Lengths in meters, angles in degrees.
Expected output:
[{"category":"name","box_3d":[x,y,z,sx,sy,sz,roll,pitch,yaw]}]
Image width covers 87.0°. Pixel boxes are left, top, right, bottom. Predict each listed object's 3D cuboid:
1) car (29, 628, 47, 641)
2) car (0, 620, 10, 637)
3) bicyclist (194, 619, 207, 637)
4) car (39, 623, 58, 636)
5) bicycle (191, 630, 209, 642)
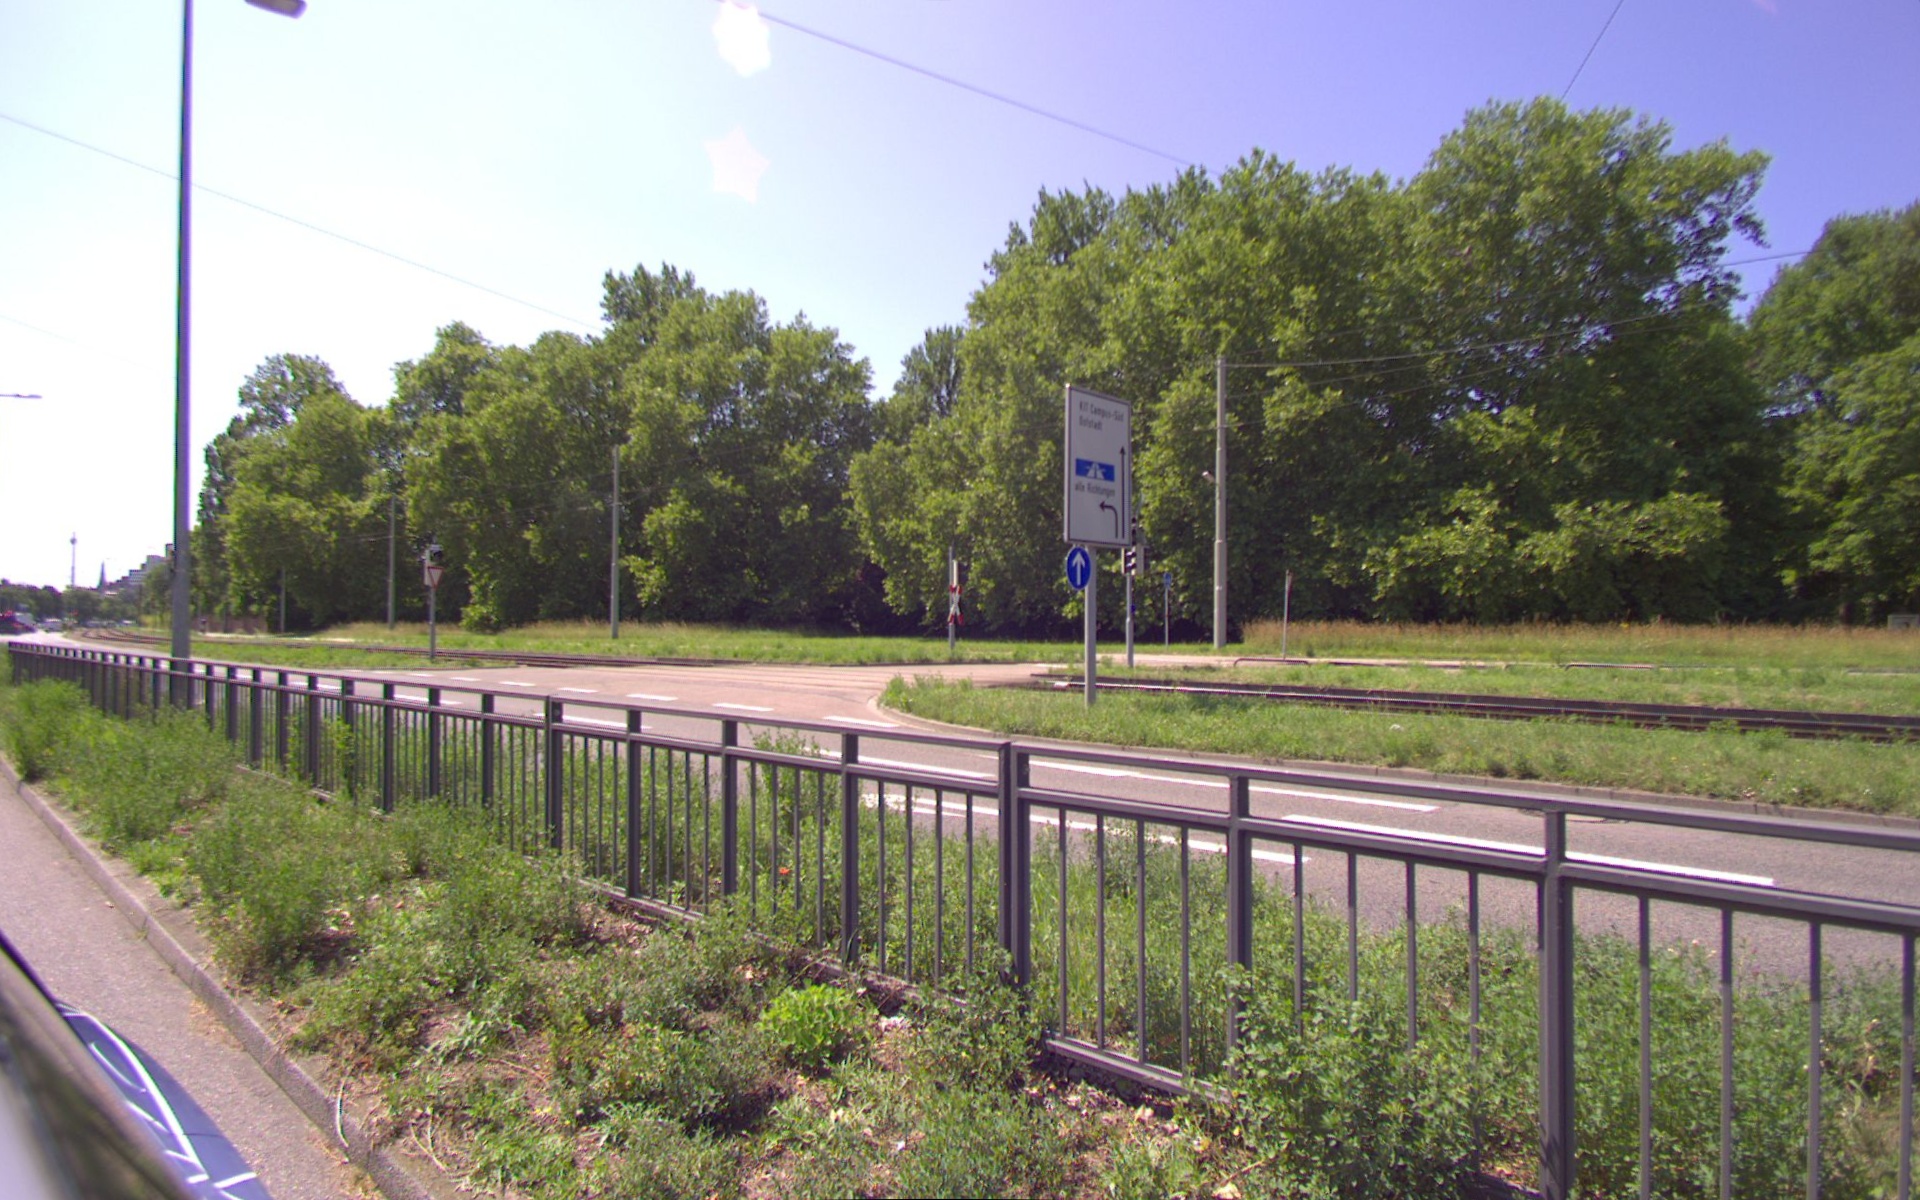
[{"category":"car","box_3d":[-141.784,5.261,155.599,1.970,1.871,4.003,1,-2,-44]},{"category":"car","box_3d":[-107.790,3.205,113.323,1.970,1.871,4.004,1,-2,-43]},{"category":"bicyclist","box_3d":[-76.777,2.811,102.295,1.117,1.820,0.851,-1,-2,41]},{"category":"car","box_3d":[-136.762,4.445,151.816,1.970,1.871,4.003,1,-2,-44]},{"category":"bicycle","box_3d":[-76.830,3.671,102.292,2.785,1.171,0.851,-1,-2,41]}]
